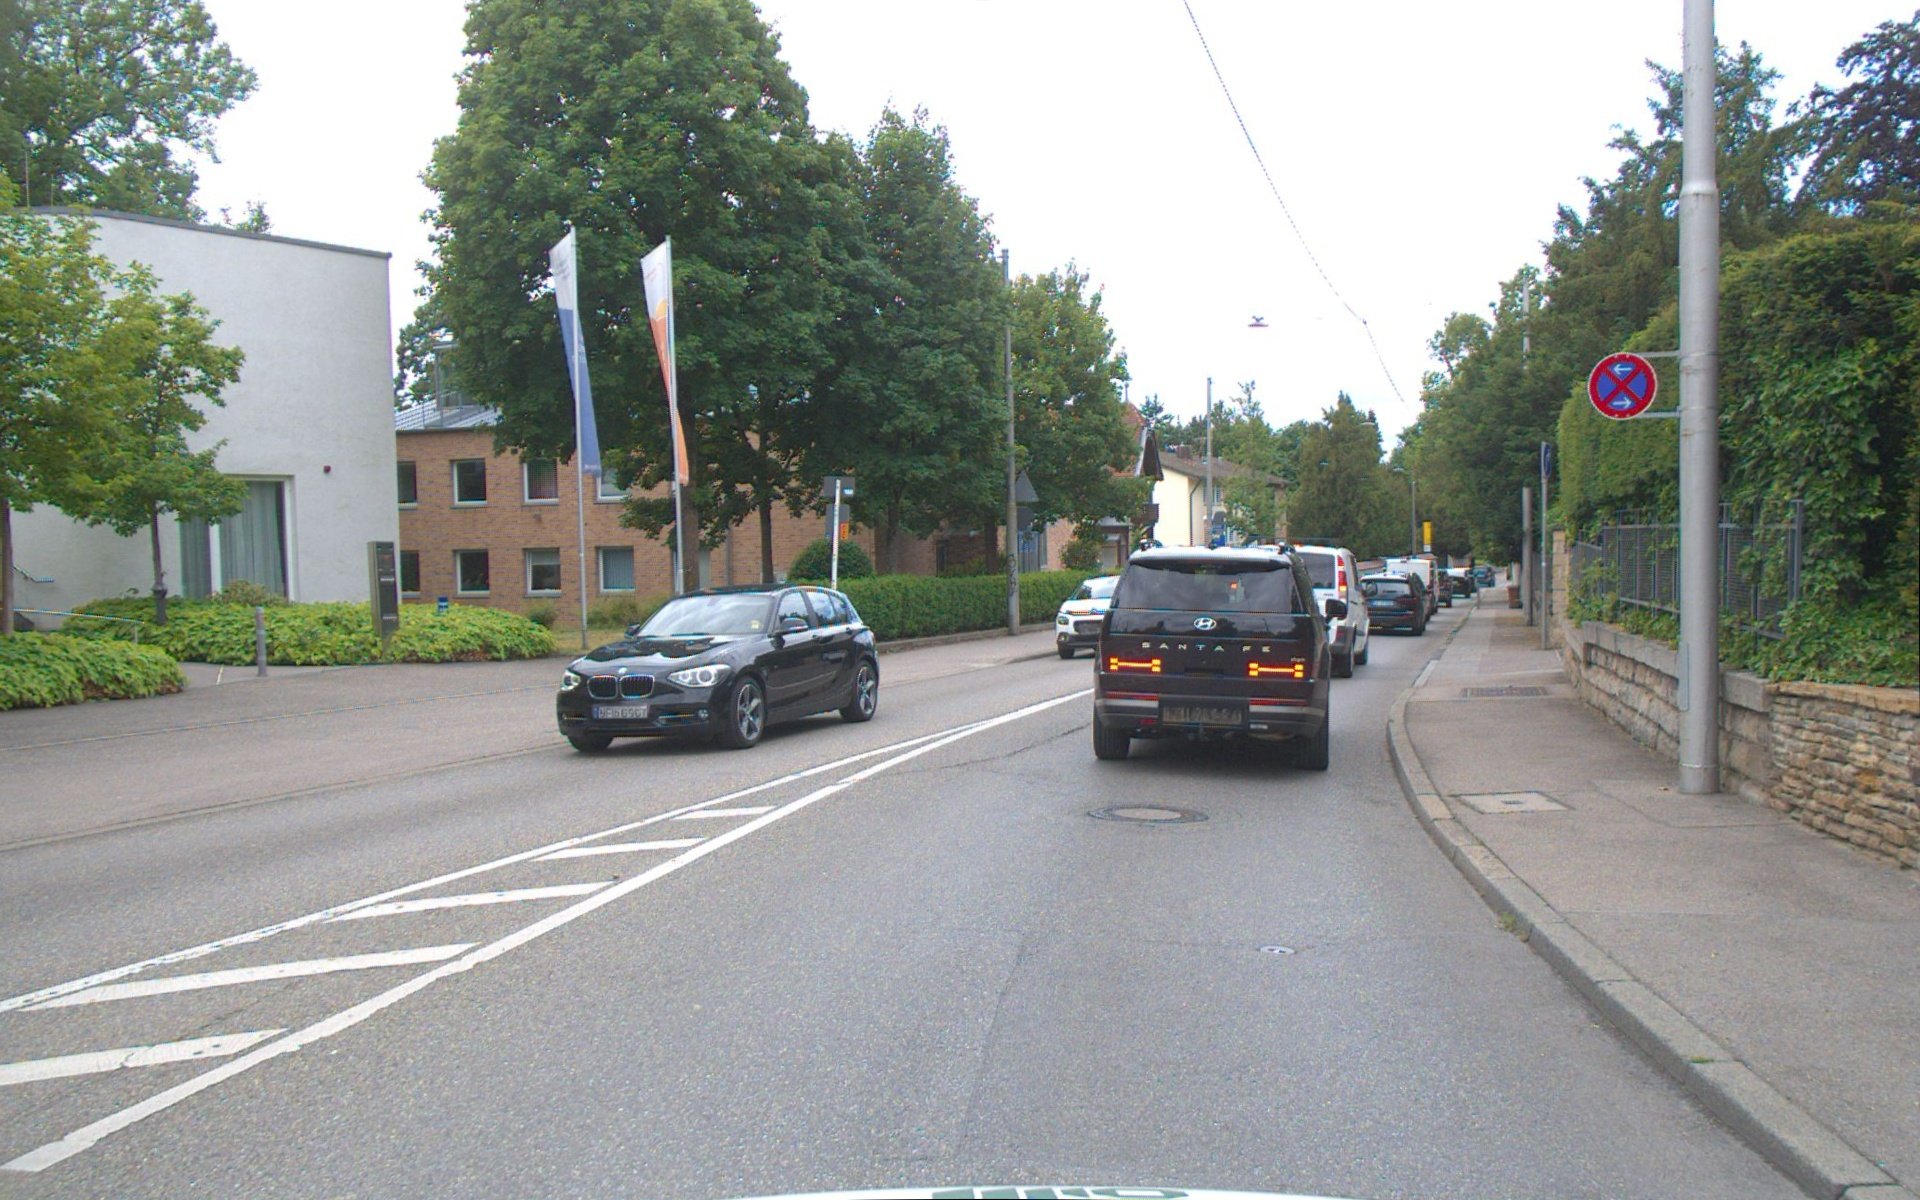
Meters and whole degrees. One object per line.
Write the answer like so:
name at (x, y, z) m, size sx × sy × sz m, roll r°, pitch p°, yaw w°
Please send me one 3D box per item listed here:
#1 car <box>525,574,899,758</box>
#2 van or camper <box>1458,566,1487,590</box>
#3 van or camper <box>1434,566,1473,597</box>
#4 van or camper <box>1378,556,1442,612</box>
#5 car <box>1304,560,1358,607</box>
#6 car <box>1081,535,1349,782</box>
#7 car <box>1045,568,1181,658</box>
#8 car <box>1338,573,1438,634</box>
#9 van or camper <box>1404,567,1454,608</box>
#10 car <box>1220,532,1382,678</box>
car at (-2.165, 0.535, 15.630) m, size 1.726 × 1.432 × 4.002 m, roll -3°, pitch 1°, yaw 20°
van or camper at (38.722, -1.652, 124.939) m, size 1.952 × 1.680 × 4.002 m, roll -2°, pitch 1°, yaw 19°
van or camper at (28.287, -1.067, 94.723) m, size 1.952 × 1.680 × 4.002 m, roll -2°, pitch 1°, yaw 19°
van or camper at (16.430, -0.610, 60.328) m, size 1.952 × 1.920 × 4.002 m, roll -2°, pitch 1°, yaw 19°
car at (15.806, -0.670, 70.308) m, size 1.951 × 1.848 × 4.002 m, roll 0°, pitch -1°, yaw 17°
car at (2.338, 0.354, 14.255) m, size 1.915 × 1.742 × 4.227 m, roll 2°, pitch 2°, yaw 13°
car at (2.934, 0.199, 31.107) m, size 1.660 × 1.465 × 3.759 m, roll -4°, pitch 0°, yaw 18°
car at (10.697, 0.053, 41.203) m, size 1.952 × 1.429 × 4.000 m, roll -1°, pitch 0°, yaw 21°
van or camper at (20.682, -0.571, 73.052) m, size 1.951 × 1.656 × 4.004 m, roll -2°, pitch 1°, yaw 14°
car at (5.401, -0.012, 25.822) m, size 1.916 × 1.989 × 4.226 m, roll 3°, pitch 3°, yaw 18°
